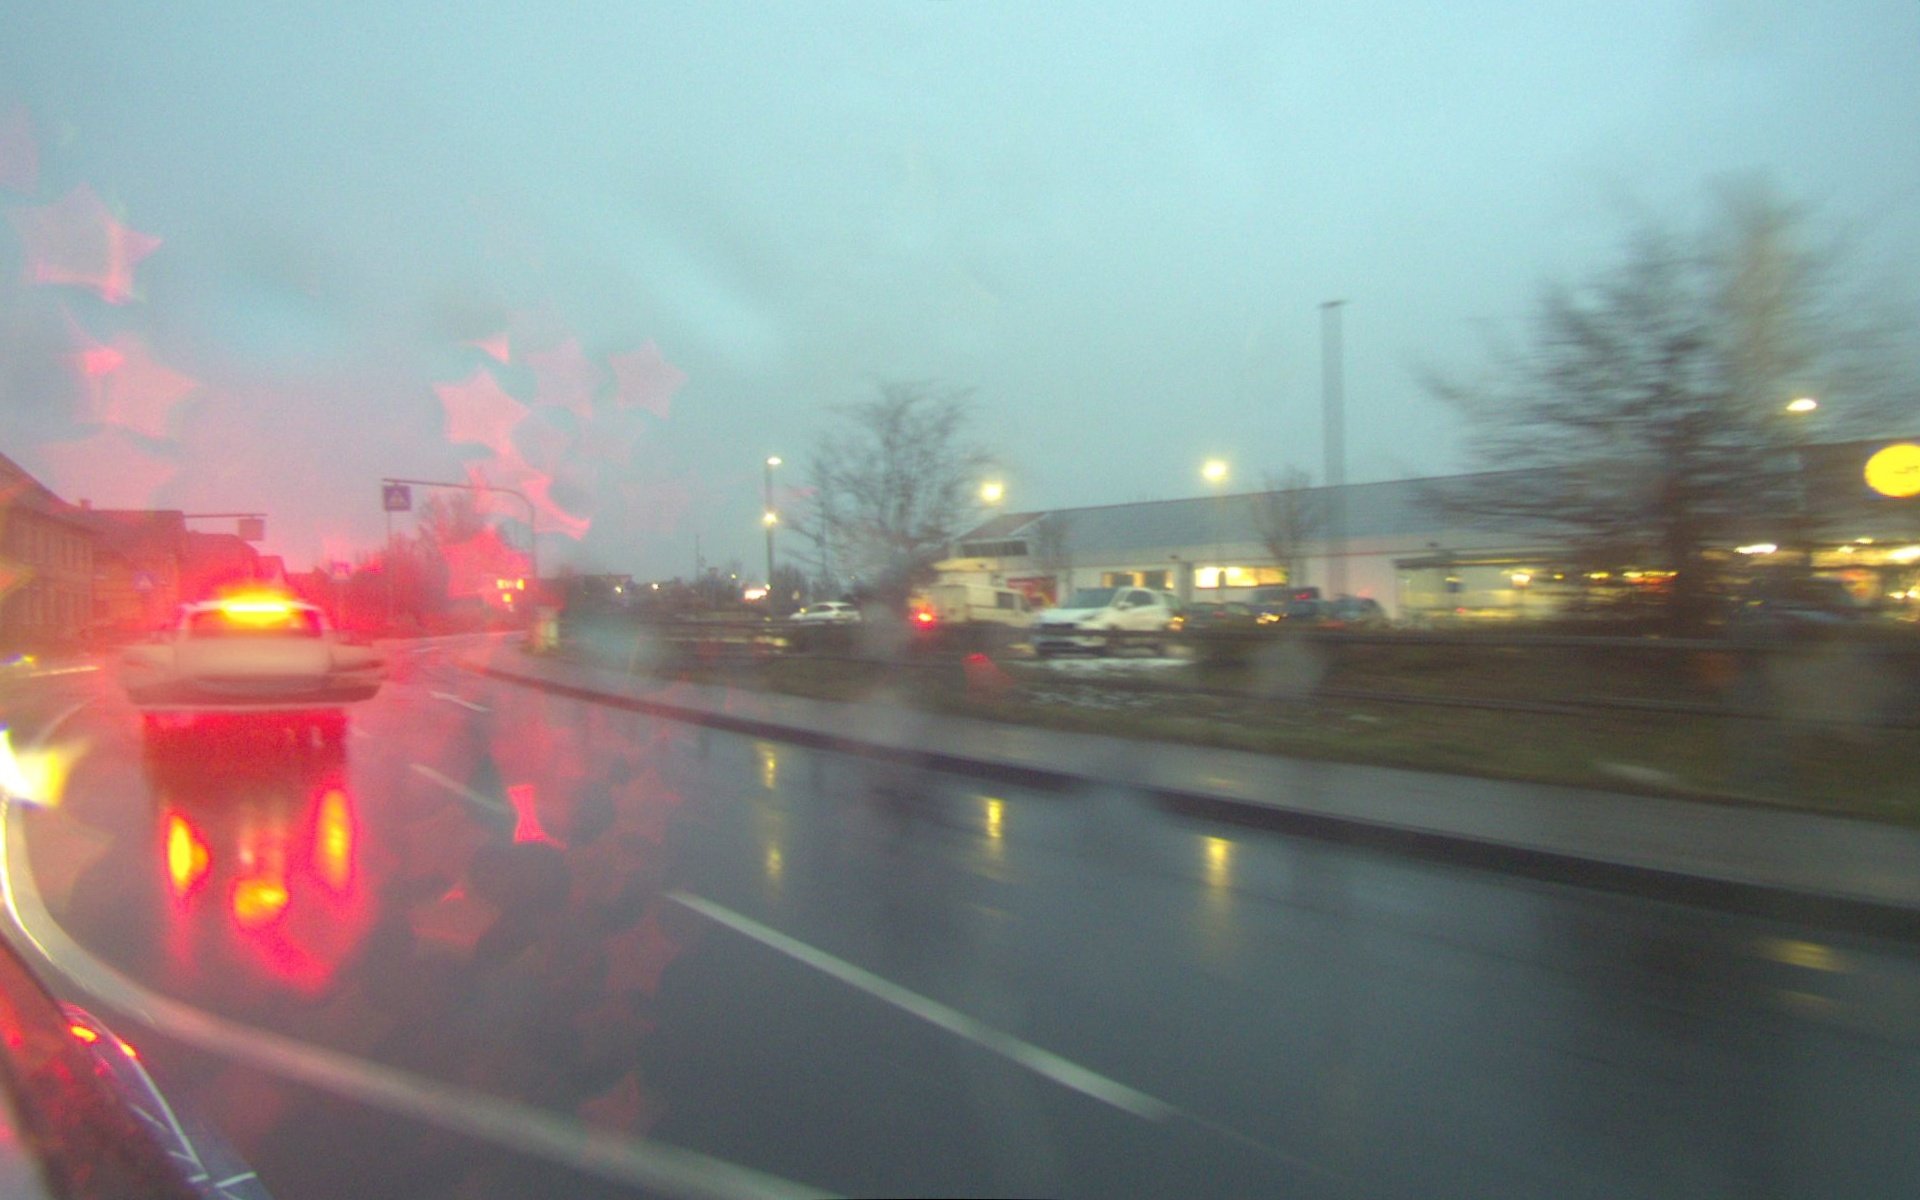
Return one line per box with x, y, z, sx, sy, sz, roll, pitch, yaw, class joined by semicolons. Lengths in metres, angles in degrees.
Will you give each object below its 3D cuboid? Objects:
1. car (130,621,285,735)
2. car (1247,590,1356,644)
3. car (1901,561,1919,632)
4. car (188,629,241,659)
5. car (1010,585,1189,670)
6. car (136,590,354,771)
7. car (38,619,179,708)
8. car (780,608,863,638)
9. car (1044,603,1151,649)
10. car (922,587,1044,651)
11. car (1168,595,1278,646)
-11.813;1.120;15.964;1.748;1.506;4.051;-1;-1;-36;car
11.069;0.579;32.594;2.052;1.575;4.390;-3;-3;36;car
22.471;-0.117;22.226;2.052;1.575;4.390;-3;-3;36;car
-40.257;2.352;54.726;1.747;1.441;3.808;-2;-1;-29;car
3.291;0.569;23.048;2.029;1.724;4.728;-2;-1;36;car
-8.661;0.831;12.090;1.749;1.736;4.428;-1;-1;-40;car
-16.443;1.146;19.717;1.640;1.497;4.011;-1;0;-34;car
-7.551;1.255;54.819;4.782;1.548;1.666;-1;0;40;car
5.109;0.971;37.157;2.052;1.575;4.390;-3;-3;36;car
0.968;0.767;39.719;2.214;2.300;5.138;-3;-3;36;car
8.907;0.722;34.031;2.052;1.575;4.390;-3;-3;36;car
